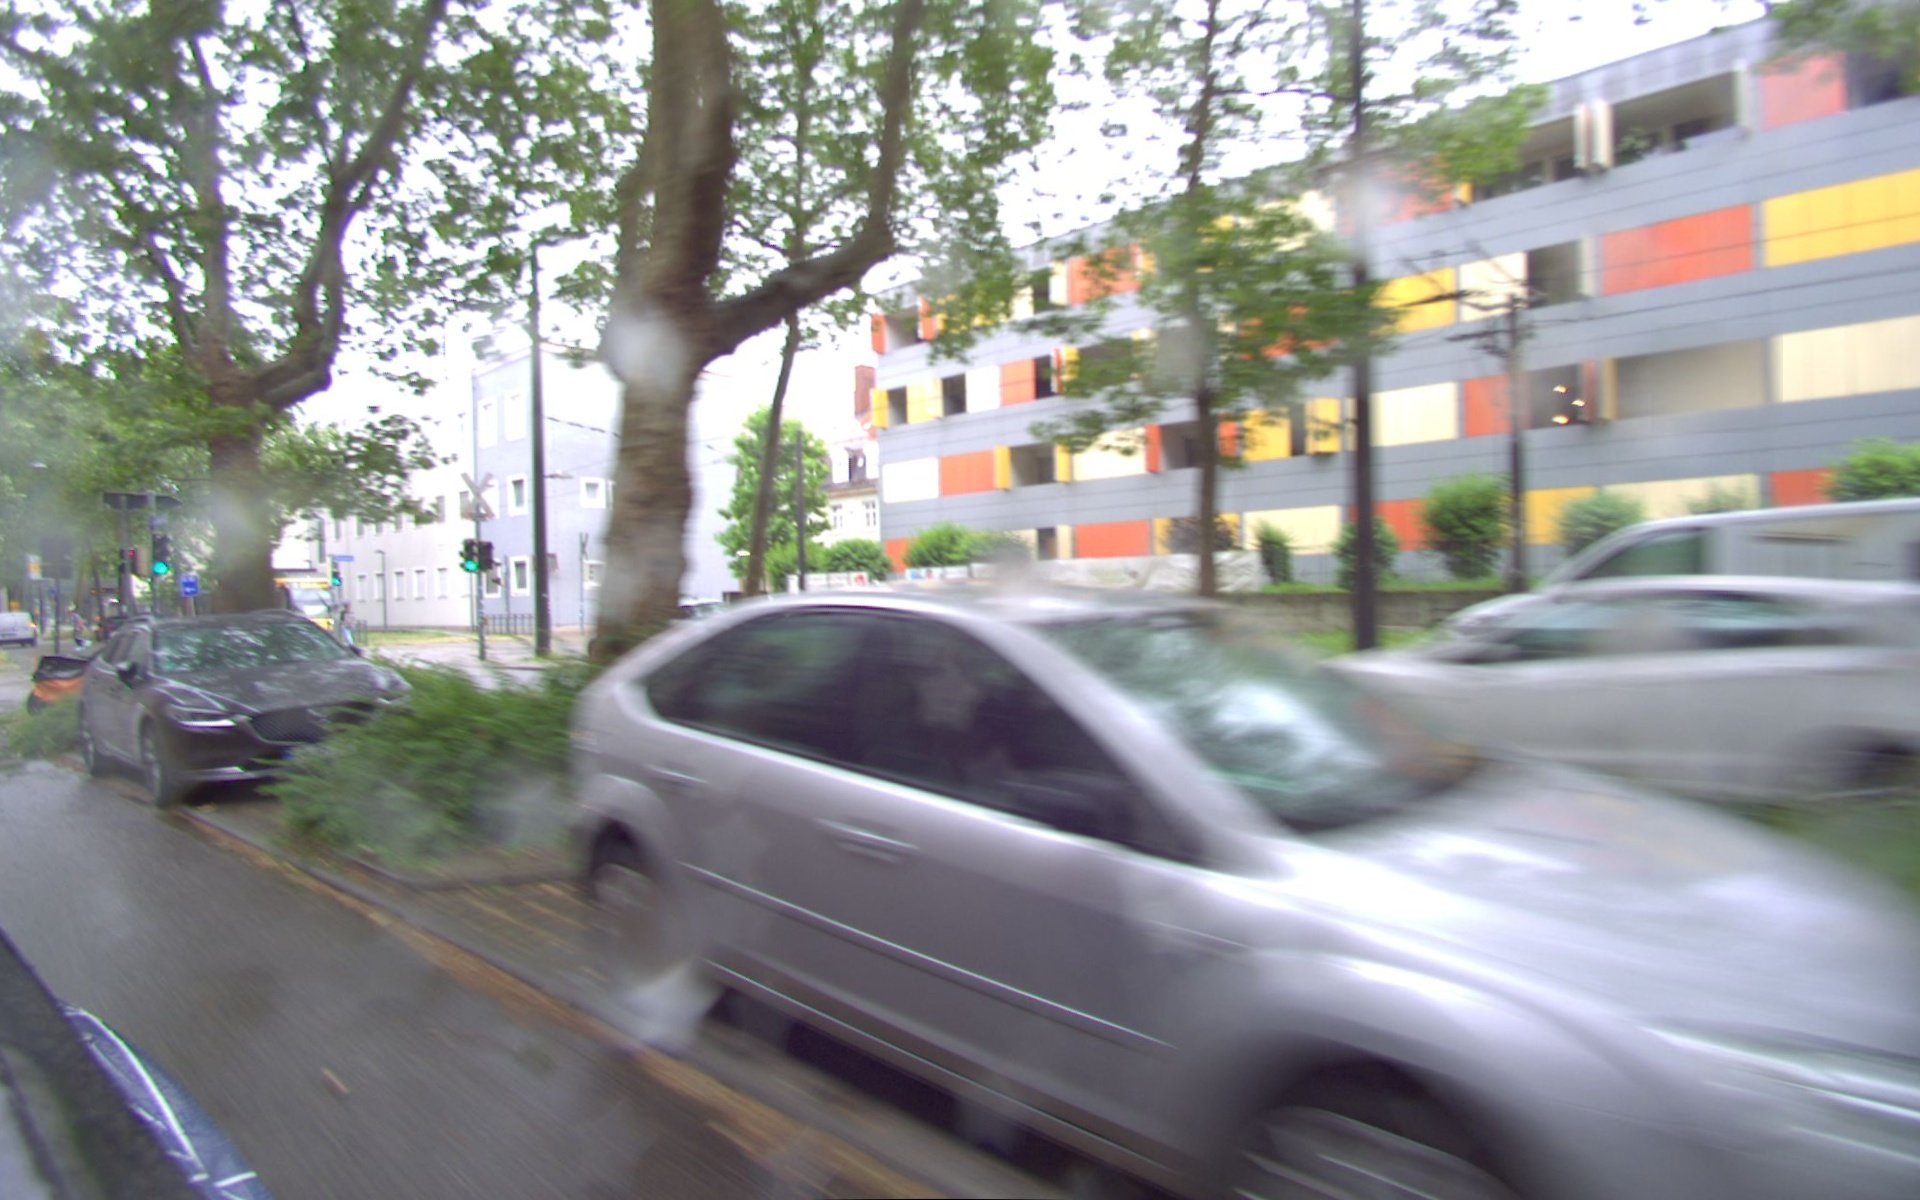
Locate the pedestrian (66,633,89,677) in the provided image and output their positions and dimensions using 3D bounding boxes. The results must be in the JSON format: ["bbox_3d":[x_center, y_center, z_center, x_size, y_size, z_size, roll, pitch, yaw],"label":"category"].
[{"bbox_3d":[-38.434,2.382,44.066,0.635,1.869,0.654,-3,-2,42],"label":"pedestrian"}]

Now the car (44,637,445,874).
[{"bbox_3d":[-6.548,1.150,9.026,4.619,1.496,1.876,-3,-1,41],"label":"car"}]

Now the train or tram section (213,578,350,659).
[{"bbox_3d":[-34.236,0.986,50.783,11.547,3.669,2.869,-2,-1,42],"label":"train or tram section"}]

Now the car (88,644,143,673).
[{"bbox_3d":[-46.286,3.202,55.430,3.703,1.395,1.655,-3,2,41],"label":"car"}]

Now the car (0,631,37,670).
[{"bbox_3d":[-49.135,2.609,52.056,4.062,1.863,1.913,-3,-2,40],"label":"car"}]

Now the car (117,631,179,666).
[{"bbox_3d":[-40.133,2.416,49.995,3.971,1.520,1.655,-3,2,41],"label":"car"}]

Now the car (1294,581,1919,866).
[{"bbox_3d":[4.488,0.646,6.580,3.997,1.431,1.815,-2,-1,40],"label":"car"}]

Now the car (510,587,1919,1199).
[{"bbox_3d":[0.469,0.812,2.928,4.207,1.526,1.710,-3,-1,43],"label":"car"}]

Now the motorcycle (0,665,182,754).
[{"bbox_3d":[-13.492,1.685,15.710,2.110,1.218,0.870,-2,-1,-4],"label":"motorcycle"}]

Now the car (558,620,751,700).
[{"bbox_3d":[-6.479,1.222,21.185,4.387,1.475,1.884,-3,-2,42],"label":"car"}]

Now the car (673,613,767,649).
[{"bbox_3d":[-11.312,1.440,47.846,1.885,1.539,4.038,-3,-2,38],"label":"car"}]

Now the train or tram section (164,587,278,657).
[{"bbox_3d":[-42.855,1.298,58.473,11.547,3.669,2.869,-2,-1,42],"label":"train or tram section"}]

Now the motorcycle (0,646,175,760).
[{"bbox_3d":[-12.820,1.482,14.751,2.077,1.511,0.772,-2,-1,-6],"label":"motorcycle"}]

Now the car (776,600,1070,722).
[{"bbox_3d":[-0.694,0.899,15.692,4.465,1.612,1.884,-3,-2,41],"label":"car"}]

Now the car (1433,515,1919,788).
[{"bbox_3d":[7.224,0.374,8.625,5.426,2.012,2.035,-3,0,38],"label":"car"}]

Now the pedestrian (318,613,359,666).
[{"bbox_3d":[-21.995,1.376,35.797,1.205,1.813,0.926,-2,-1,41],"label":"pedestrian"}]
